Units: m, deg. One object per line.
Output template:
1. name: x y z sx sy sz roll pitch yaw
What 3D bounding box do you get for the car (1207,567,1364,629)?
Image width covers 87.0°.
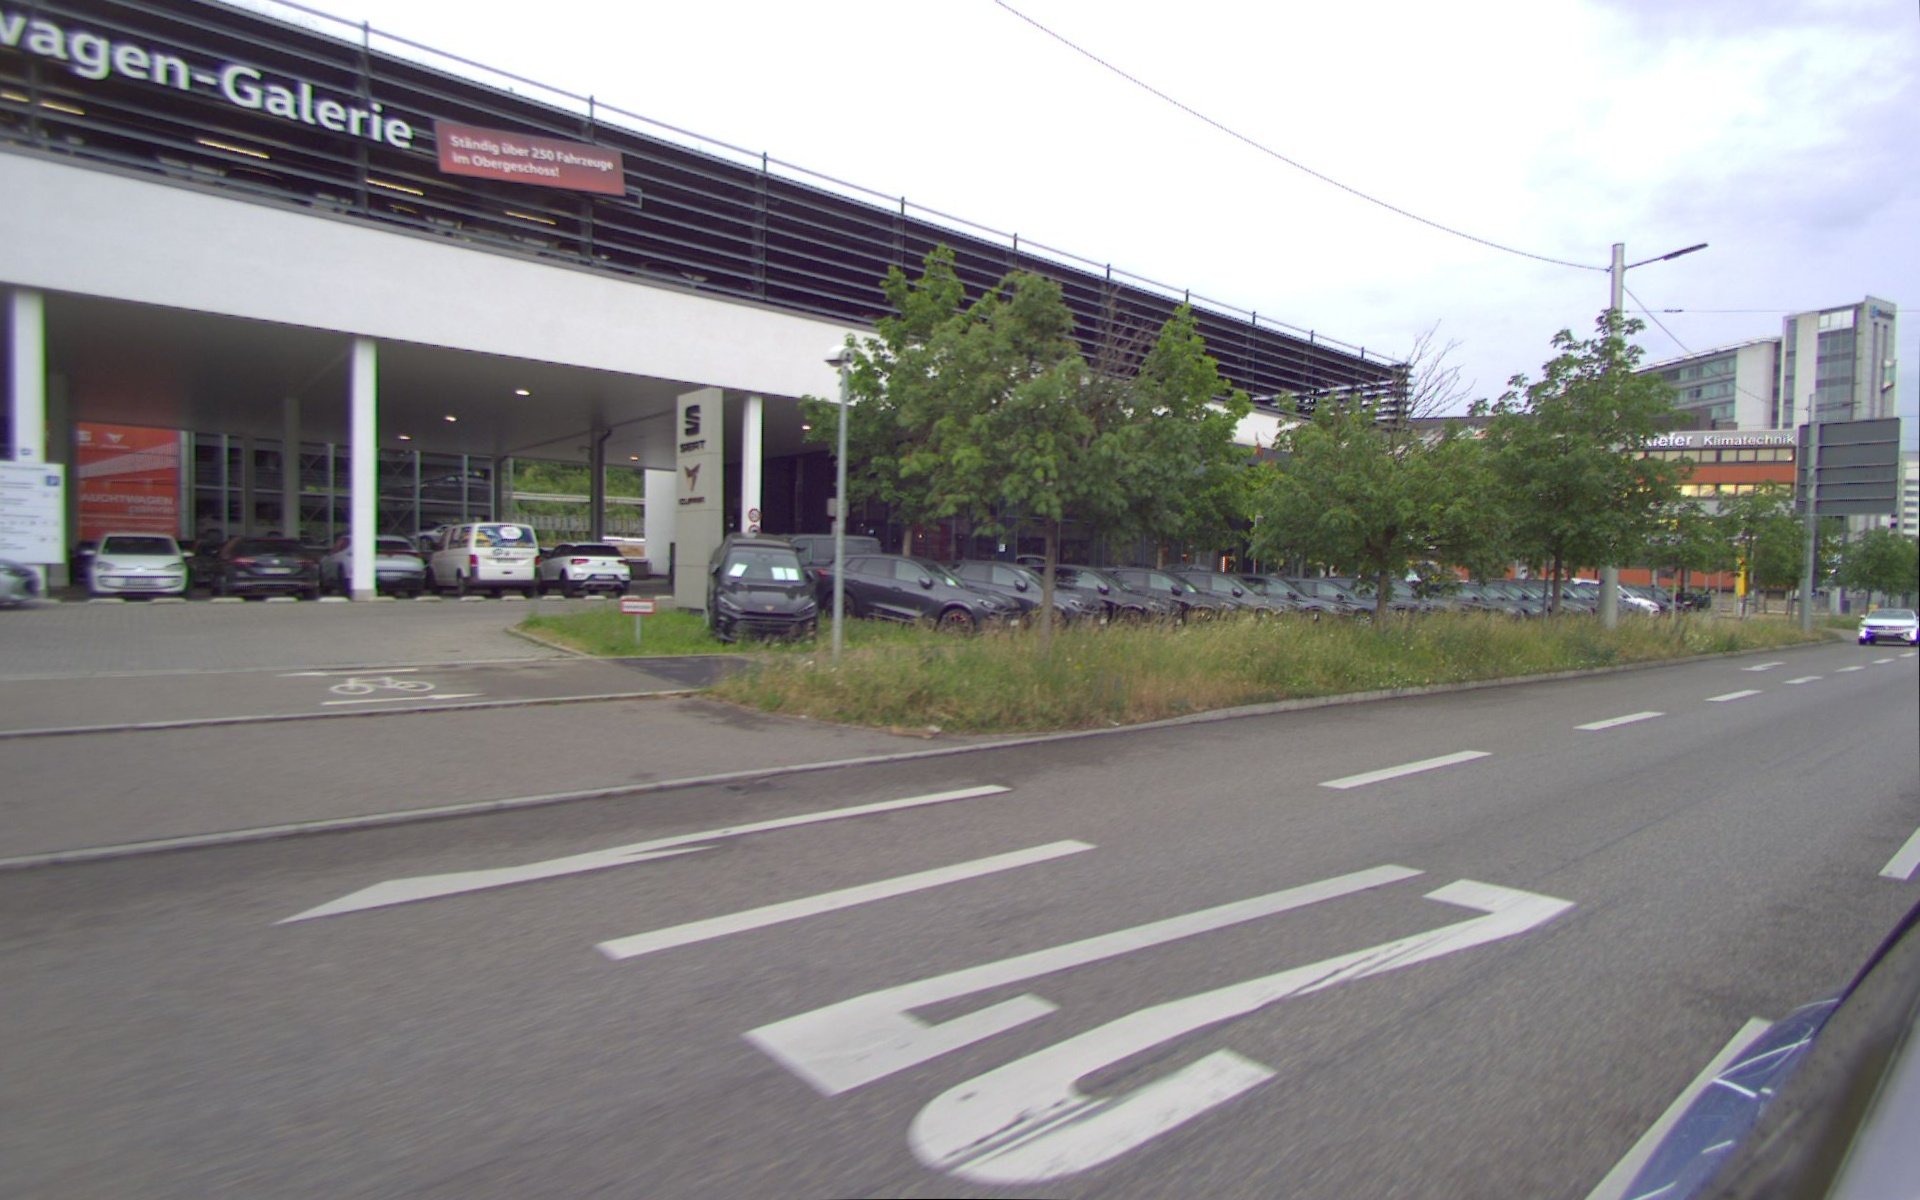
1. car: 9.658 -0.119 30.109 4.119 1.546 1.812 4 3 30

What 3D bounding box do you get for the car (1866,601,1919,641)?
1. car: 38.056 0.812 40.671 3.768 1.513 1.878 0 1 -40

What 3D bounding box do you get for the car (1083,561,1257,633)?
1. car: 5.488 -0.125 26.476 4.111 1.588 1.811 4 3 25

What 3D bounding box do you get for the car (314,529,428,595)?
1. car: -15.290 -0.996 26.183 1.871 1.555 3.995 0 2 -41

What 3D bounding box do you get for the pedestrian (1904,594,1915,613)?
1. pedestrian: 99.539 0.390 106.077 0.676 1.925 0.672 -1 -1 28

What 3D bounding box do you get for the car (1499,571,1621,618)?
1. car: 26.985 -0.267 45.586 4.476 1.817 1.797 4 3 37

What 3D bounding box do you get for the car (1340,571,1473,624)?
1. car: 15.565 -0.132 35.316 4.024 1.595 1.715 4 3 30

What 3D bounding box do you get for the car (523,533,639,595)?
1. car: -10.960 -1.064 29.100 1.871 1.652 3.995 0 2 -41

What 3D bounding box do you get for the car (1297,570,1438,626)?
1. car: 13.617 -0.112 33.835 4.119 1.552 1.775 4 3 30

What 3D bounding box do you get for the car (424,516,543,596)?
1. car: -13.051 -1.192 27.604 1.910 2.000 4.035 0 2 -41

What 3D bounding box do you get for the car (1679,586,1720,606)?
1. car: 58.576 -0.332 80.136 3.716 1.436 1.783 0 3 -41

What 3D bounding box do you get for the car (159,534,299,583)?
1. car: -26.150 -1.470 36.234 3.930 1.611 1.809 0 2 -41

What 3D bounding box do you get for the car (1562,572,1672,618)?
1. car: 32.918 -0.295 50.867 4.467 2.015 1.801 4 3 32

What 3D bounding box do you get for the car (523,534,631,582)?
1. car: -16.914 -1.866 44.760 4.027 2.038 1.998 -2 3 -41

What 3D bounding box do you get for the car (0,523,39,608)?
1. car: -19.092 -0.643 17.493 4.615 1.485 1.898 -1 4 -41

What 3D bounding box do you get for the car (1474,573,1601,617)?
1. car: 24.992 -0.259 43.899 4.483 1.638 1.794 5 3 41

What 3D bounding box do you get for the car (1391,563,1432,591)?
1. car: 29.494 -1.478 66.188 1.819 1.664 4.293 2 1 16

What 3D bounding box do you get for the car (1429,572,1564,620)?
1. car: 21.399 -0.199 40.444 4.479 1.588 1.796 5 3 39

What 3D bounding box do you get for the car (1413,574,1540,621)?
1. car: 19.762 -0.148 38.782 4.038 1.520 1.664 5 3 39

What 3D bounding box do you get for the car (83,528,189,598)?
1. car: -18.706 -0.850 22.937 1.733 1.442 3.995 0 2 -41

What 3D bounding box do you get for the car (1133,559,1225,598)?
1. car: 8.909 -0.852 41.027 3.832 1.491 1.668 0 2 -42

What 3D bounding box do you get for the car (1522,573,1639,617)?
1. car: 29.117 -0.276 47.516 4.476 1.773 1.797 4 3 37

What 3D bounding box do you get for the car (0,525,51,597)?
1. car: -20.654 -0.874 21.617 1.733 1.442 3.995 0 2 -41

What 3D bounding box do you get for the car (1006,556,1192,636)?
1. car: 3.367 -0.151 24.620 4.111 1.624 1.811 4 3 25

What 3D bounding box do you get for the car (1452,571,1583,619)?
1. car: 23.202 -0.252 42.211 4.479 1.683 1.796 5 3 39

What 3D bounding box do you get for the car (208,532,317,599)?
1. car: -16.589 -0.840 24.004 1.733 1.463 3.995 0 2 -41

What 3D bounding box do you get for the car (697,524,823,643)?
1. car: -3.856 -0.389 18.841 1.786 1.899 4.734 2 3 -17

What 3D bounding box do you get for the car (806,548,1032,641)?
1. car: -0.844 -0.173 21.041 4.284 1.632 1.857 3 3 21

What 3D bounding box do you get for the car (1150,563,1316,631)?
1. car: 7.643 -0.137 28.415 4.118 1.588 1.889 4 3 30

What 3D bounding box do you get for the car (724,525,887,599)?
1. car: -4.451 -1.069 29.573 4.353 1.962 1.890 0 2 -42

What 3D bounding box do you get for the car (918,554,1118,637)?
1. car: 1.307 -0.157 22.811 4.108 1.581 1.855 4 3 24

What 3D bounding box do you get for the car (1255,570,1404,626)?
1. car: 11.636 -0.104 31.933 4.119 1.476 1.775 4 3 30

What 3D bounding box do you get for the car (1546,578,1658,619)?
1. car: 31.168 -0.102 49.182 4.474 1.657 1.798 4 3 36
